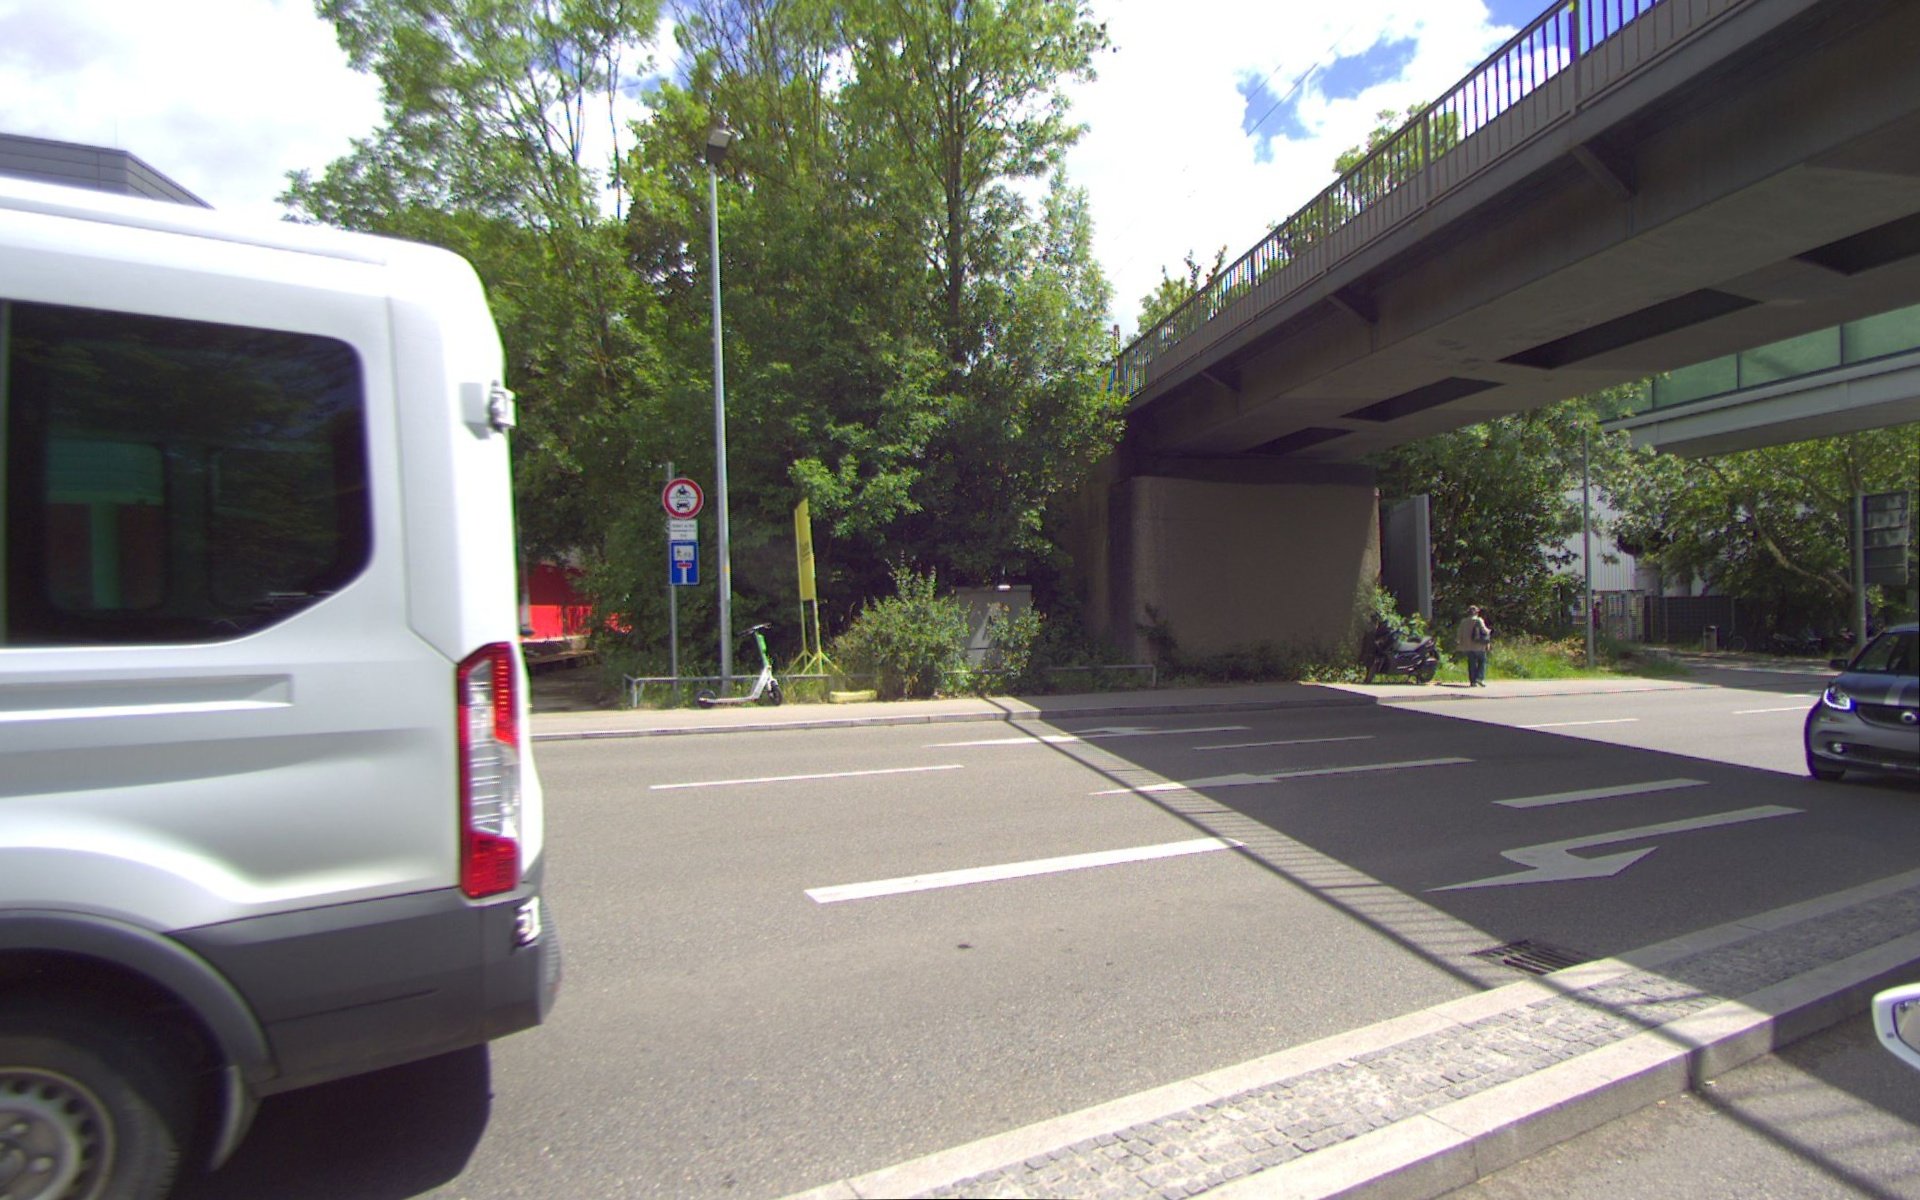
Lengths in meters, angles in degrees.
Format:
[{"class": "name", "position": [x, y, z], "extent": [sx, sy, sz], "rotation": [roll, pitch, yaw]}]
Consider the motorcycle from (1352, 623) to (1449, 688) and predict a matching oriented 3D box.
[{"class": "motorcycle", "position": [8.948, 1.127, 20.371], "extent": [2.049, 1.226, 0.683], "rotation": [4, 0, -30]}]

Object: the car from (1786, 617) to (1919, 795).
[{"class": "car", "position": [9.619, 0.959, 9.619], "extent": [3.038, 1.541, 1.693], "rotation": [1, -1, -30]}]

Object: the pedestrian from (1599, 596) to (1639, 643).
[{"class": "pedestrian", "position": [29.163, 0.845, 44.445], "extent": [1.150, 2.040, 1.008], "rotation": [1, -1, -21]}]

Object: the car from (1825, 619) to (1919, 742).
[{"class": "car", "position": [13.947, 1.080, 14.118], "extent": [3.881, 1.571, 1.691], "rotation": [1, -1, -33]}]

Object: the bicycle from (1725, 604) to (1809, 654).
[{"class": "bicycle", "position": [34.584, 1.249, 43.124], "extent": [2.706, 2.040, 1.039], "rotation": [-2, 1, 38]}]

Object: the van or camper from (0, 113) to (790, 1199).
[{"class": "van or camper", "position": [-3.719, 0.222, 2.161], "extent": [6.319, 2.433, 2.000], "rotation": [1, -1, -29]}]

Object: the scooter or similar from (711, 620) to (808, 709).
[{"class": "scooter or similar", "position": [-2.889, 0.908, 14.463], "extent": [1.246, 1.227, 0.608], "rotation": [1, -1, -30]}]

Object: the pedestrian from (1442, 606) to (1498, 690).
[{"class": "pedestrian", "position": [10.631, 0.987, 20.945], "extent": [0.712, 1.646, 0.720], "rotation": [-3, 5, -30]}]
